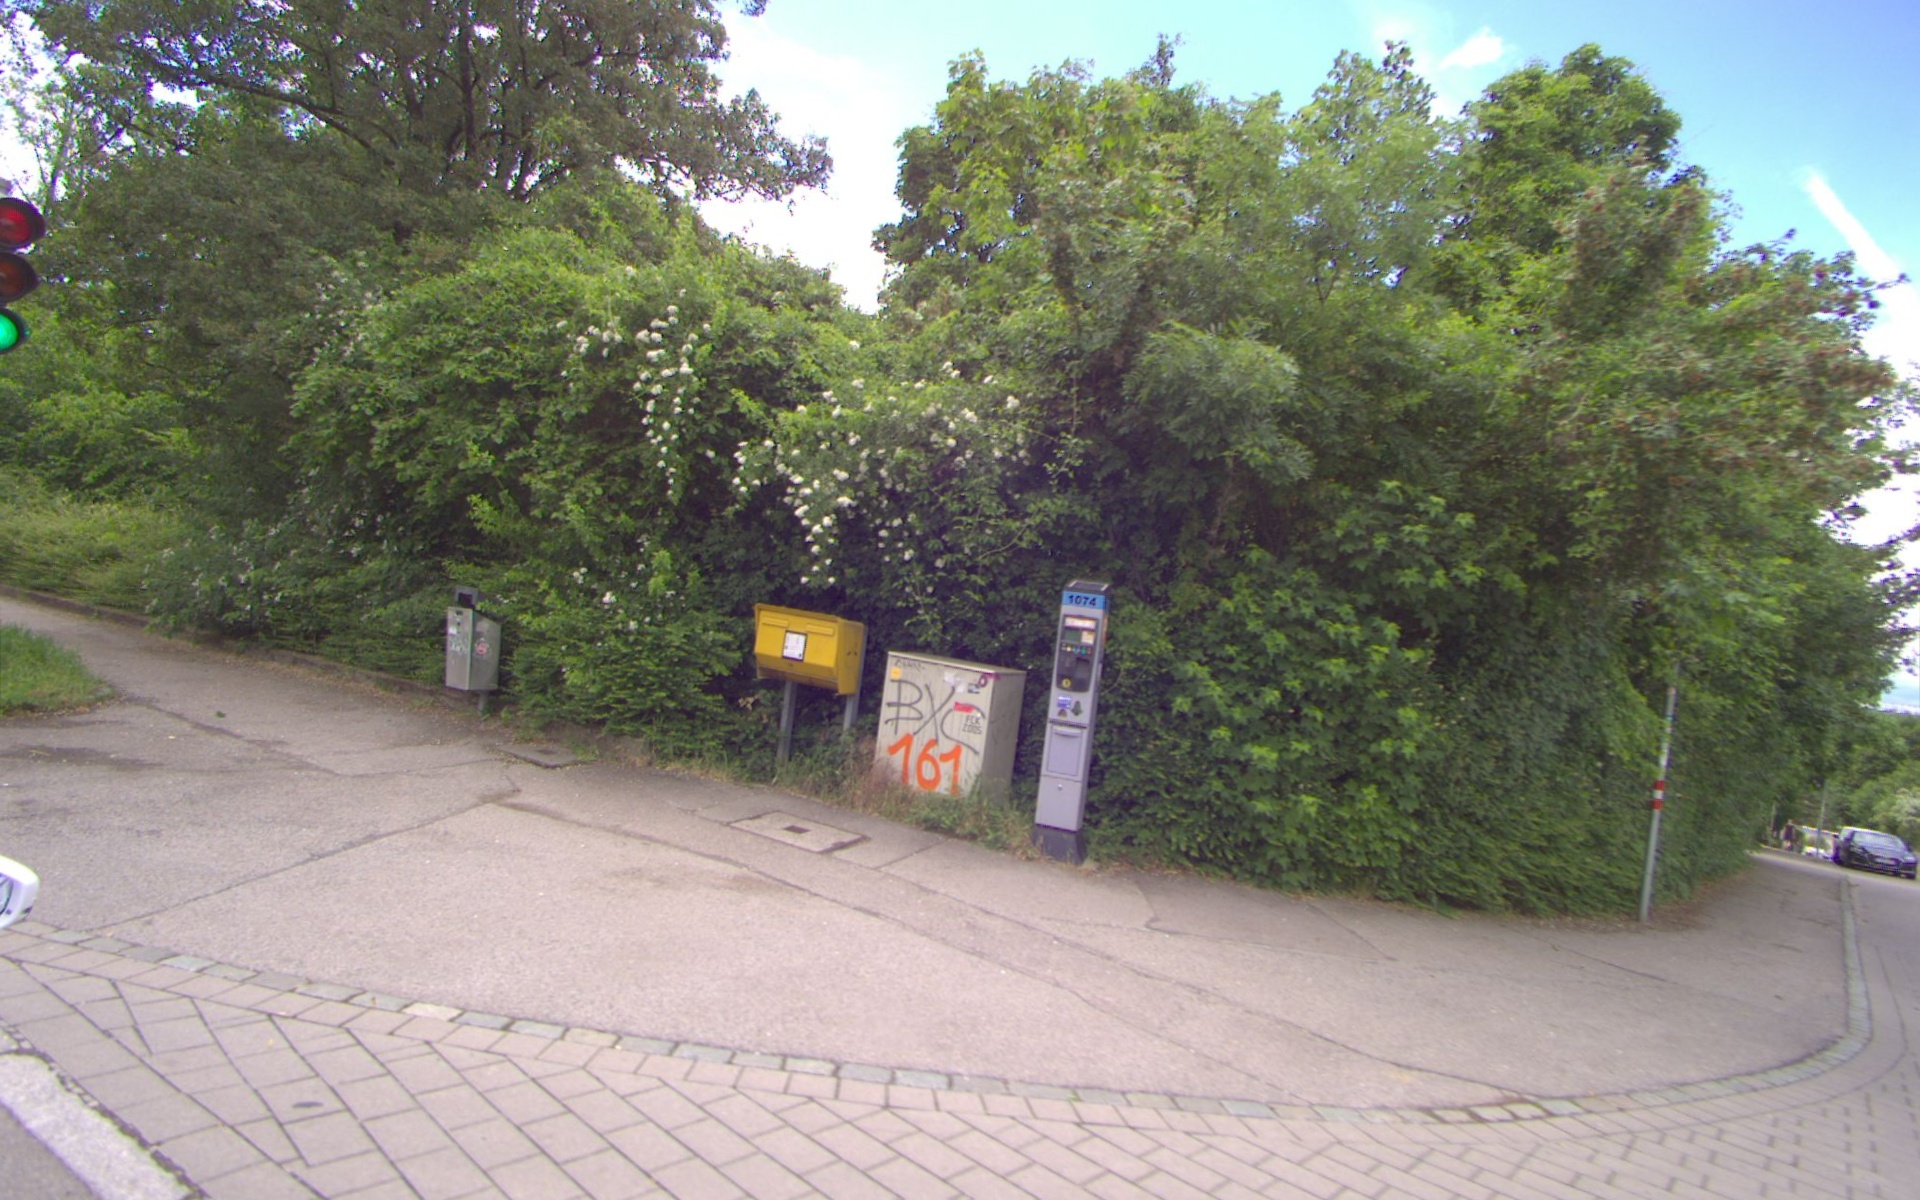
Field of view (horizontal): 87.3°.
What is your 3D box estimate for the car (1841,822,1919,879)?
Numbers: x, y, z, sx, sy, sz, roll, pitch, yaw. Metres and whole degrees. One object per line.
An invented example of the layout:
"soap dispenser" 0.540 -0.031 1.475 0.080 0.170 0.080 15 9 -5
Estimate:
"car" 32.237 8.741 35.334 1.648 1.545 3.754 6 -6 39
